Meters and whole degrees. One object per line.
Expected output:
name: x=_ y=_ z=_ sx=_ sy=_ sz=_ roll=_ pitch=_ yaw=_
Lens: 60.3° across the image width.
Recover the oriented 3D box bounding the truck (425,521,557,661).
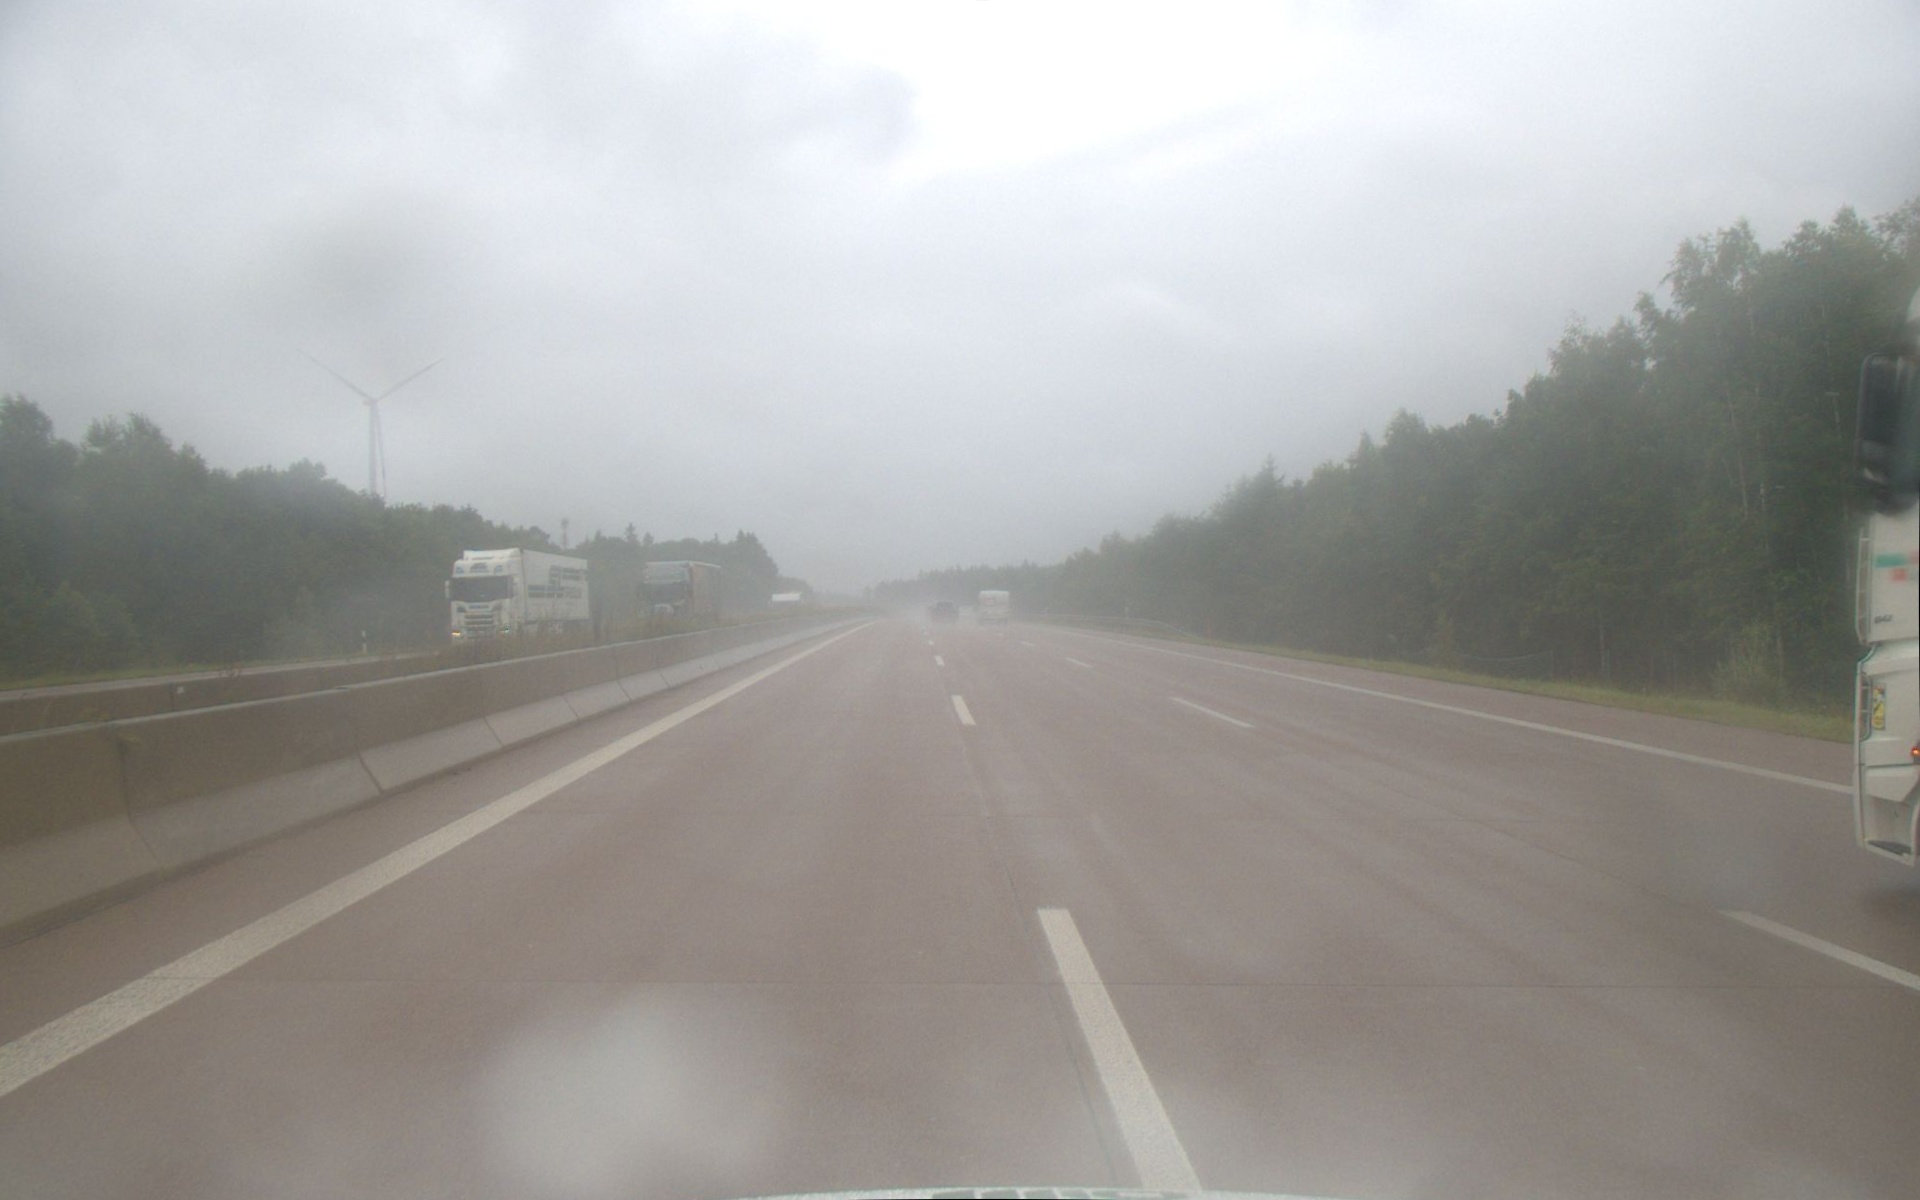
truck: x=-19.470 y=-0.353 z=69.245 sx=3.350 sy=5.473 sz=8.154 roll=1 pitch=0 yaw=-2

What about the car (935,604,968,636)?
car: x=-0.603 y=1.381 z=113.335 sx=2.130 sy=2.016 sz=4.129 roll=3 pitch=0 yaw=-1

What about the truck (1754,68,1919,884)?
truck: x=6.369 y=-0.605 z=6.947 sx=2.822 sy=4.178 sz=6.347 roll=1 pitch=1 yaw=-2

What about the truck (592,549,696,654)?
truck: x=-16.189 y=0.078 z=85.424 sx=3.846 sy=5.102 sz=8.948 roll=1 pitch=0 yaw=-2
